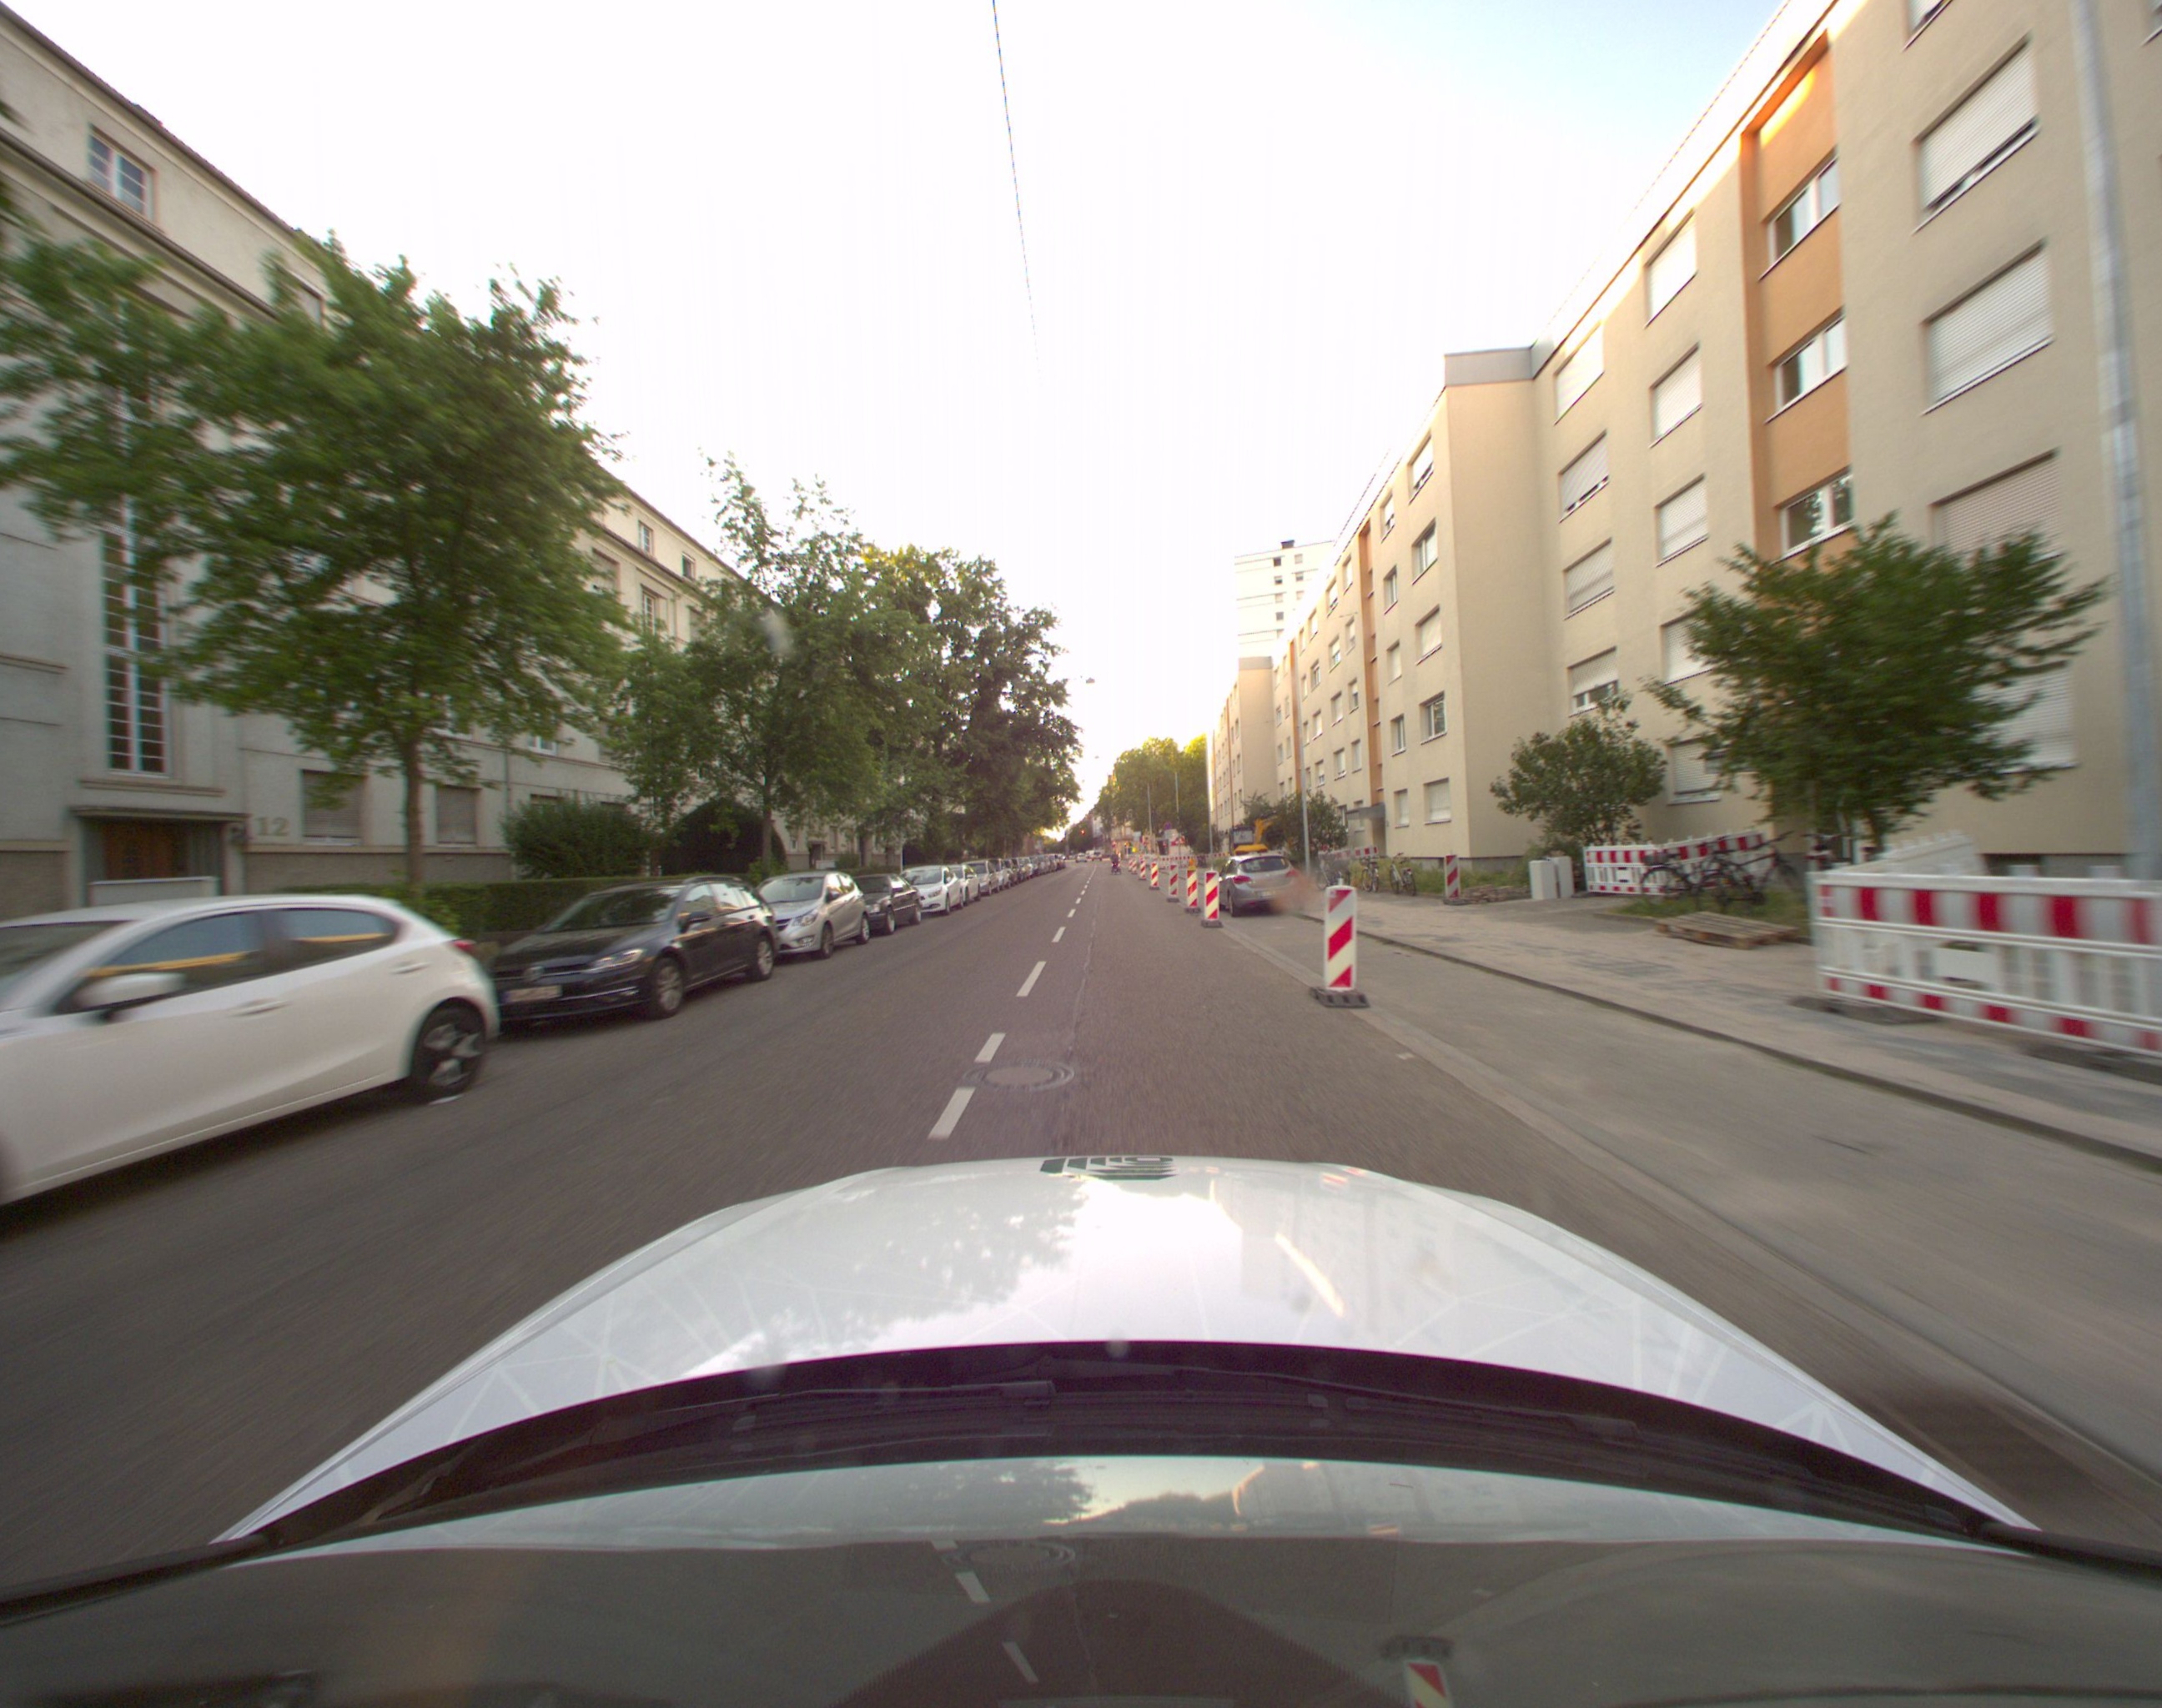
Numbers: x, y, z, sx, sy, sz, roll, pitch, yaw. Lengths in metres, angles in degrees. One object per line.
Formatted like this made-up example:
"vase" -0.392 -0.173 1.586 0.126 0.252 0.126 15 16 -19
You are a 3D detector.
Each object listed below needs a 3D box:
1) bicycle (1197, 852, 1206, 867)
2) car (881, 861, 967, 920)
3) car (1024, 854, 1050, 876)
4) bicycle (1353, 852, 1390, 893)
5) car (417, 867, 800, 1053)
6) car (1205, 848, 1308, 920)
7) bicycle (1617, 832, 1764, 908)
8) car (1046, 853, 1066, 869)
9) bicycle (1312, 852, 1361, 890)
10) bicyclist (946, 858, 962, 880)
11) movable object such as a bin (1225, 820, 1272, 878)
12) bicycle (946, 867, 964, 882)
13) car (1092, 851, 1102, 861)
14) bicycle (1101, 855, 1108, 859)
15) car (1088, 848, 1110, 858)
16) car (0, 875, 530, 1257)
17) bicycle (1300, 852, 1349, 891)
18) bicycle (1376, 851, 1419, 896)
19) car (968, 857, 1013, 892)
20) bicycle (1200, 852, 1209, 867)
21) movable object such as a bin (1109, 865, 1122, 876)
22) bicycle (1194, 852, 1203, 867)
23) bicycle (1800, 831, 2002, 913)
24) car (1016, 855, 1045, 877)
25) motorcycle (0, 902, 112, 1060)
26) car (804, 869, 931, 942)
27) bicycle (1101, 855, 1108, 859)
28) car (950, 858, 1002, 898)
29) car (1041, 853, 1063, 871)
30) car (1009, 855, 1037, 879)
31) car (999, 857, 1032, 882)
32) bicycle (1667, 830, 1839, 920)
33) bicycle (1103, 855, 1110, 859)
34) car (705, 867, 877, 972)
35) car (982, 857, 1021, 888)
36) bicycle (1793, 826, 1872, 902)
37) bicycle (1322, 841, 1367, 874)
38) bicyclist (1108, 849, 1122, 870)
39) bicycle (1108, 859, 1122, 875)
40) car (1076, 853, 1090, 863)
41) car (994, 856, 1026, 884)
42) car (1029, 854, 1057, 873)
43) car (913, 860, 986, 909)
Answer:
"bicycle" 9.927 0.443 67.060 0.396 1.222 1.910 -2 0 0
"car" -4.649 1.039 24.624 1.687 1.459 4.144 -5 0 0
"car" -3.583 0.870 67.179 1.701 1.600 4.118 -5 0 1
"bicycle" 8.713 0.521 24.517 0.553 1.172 1.819 -2 0 4
"car" -5.127 1.006 9.786 1.747 1.479 4.677 -5 0 0
"car" 4.444 0.703 21.316 1.769 1.490 4.576 -6 0 2
"bicycle" 9.797 0.257 13.141 1.742 0.986 0.559 -7 -1 10
"car" -2.798 0.786 92.538 1.947 1.616 4.606 -4 0 1
"bicycle" 8.300 0.539 26.552 0.627 1.172 1.807 -2 0 -15
"bicyclist" -8.156 0.949 52.330 0.805 1.404 0.974 -2 0 1
"movable object such as a bin" 8.227 -0.252 40.238 1.924 2.693 2.896 -2 0 6
"bicycle" -8.106 1.293 52.314 0.805 0.911 1.762 -2 0 1
"car" 3.098 0.337 156.542 1.860 1.815 3.999 -3 0 0
"bicycle" 6.154 0.693 212.280 1.909 0.968 0.545 -2 0 -1
"car" 4.866 -0.307 218.773 5.855 2.288 2.047 -2 0 -42
"car" -5.279 0.982 4.330 1.745 1.479 3.947 -5 0 3
"bicycle" 7.770 0.544 26.057 0.557 1.172 1.805 -2 0 -18
"bicycle" 8.707 0.508 22.468 0.553 1.172 1.819 -2 0 4
"car" -4.390 0.969 39.893 1.583 1.529 2.924 -5 0 3
"bicycle" 10.175 0.438 66.989 0.396 1.222 1.825 -2 0 0
"movable object such as a bin" 2.646 1.251 61.957 0.936 0.689 0.993 -5 -1 1
"bicycle" 9.651 0.447 66.973 0.450 1.222 1.910 -2 0 0
"bicycle" 10.111 0.252 10.113 0.559 0.865 1.600 -6 -1 -26
"car" -3.848 0.893 62.764 1.701 1.452 3.844 -5 0 2
"motorcycle" -9.683 1.134 6.942 0.584 1.324 1.829 -2 0 2
"car" -4.911 1.122 19.404 1.669 1.331 4.580 -5 0 1
"bicycle" 6.191 0.809 212.511 1.909 0.968 0.545 -2 0 -1
"car" -4.513 0.995 35.539 1.584 1.505 3.800 -5 0 1
"car" -3.018 0.797 84.698 1.947 1.719 4.771 -4 0 1
"car" -4.121 0.928 58.371 1.585 1.538 4.205 -5 0 -1
"car" -4.214 0.982 52.962 1.584 1.404 4.182 -5 0 1
"bicycle" 9.381 0.291 11.411 1.804 1.022 0.558 -7 -1 2
"bicycle" 6.678 0.810 213.293 1.900 0.968 0.548 -2 0 15
"car" -5.010 1.049 14.618 1.670 1.459 3.703 -5 0 -1
"car" -4.307 0.993 44.539 1.585 1.466 4.101 -5 0 0
"bicycle" 11.251 0.130 12.171 1.826 0.921 0.551 -6 -2 -40
"bicycle" 10.225 0.123 31.637 1.590 1.222 0.484 -2 0 -5
"bicyclist" 2.623 0.422 63.661 0.936 1.581 1.146 -5 -1 1
"bicycle" 2.674 1.028 63.634 0.936 1.172 2.359 -5 -1 1
"car" 0.337 0.741 140.423 1.856 1.585 4.009 -3 0 7
"car" -4.228 0.925 48.813 1.518 1.529 3.164 -5 0 0
"car" -3.301 0.795 71.982 1.724 1.497 4.277 -4 0 6
"car" -4.611 1.034 29.196 1.686 1.459 4.484 -5 0 1
